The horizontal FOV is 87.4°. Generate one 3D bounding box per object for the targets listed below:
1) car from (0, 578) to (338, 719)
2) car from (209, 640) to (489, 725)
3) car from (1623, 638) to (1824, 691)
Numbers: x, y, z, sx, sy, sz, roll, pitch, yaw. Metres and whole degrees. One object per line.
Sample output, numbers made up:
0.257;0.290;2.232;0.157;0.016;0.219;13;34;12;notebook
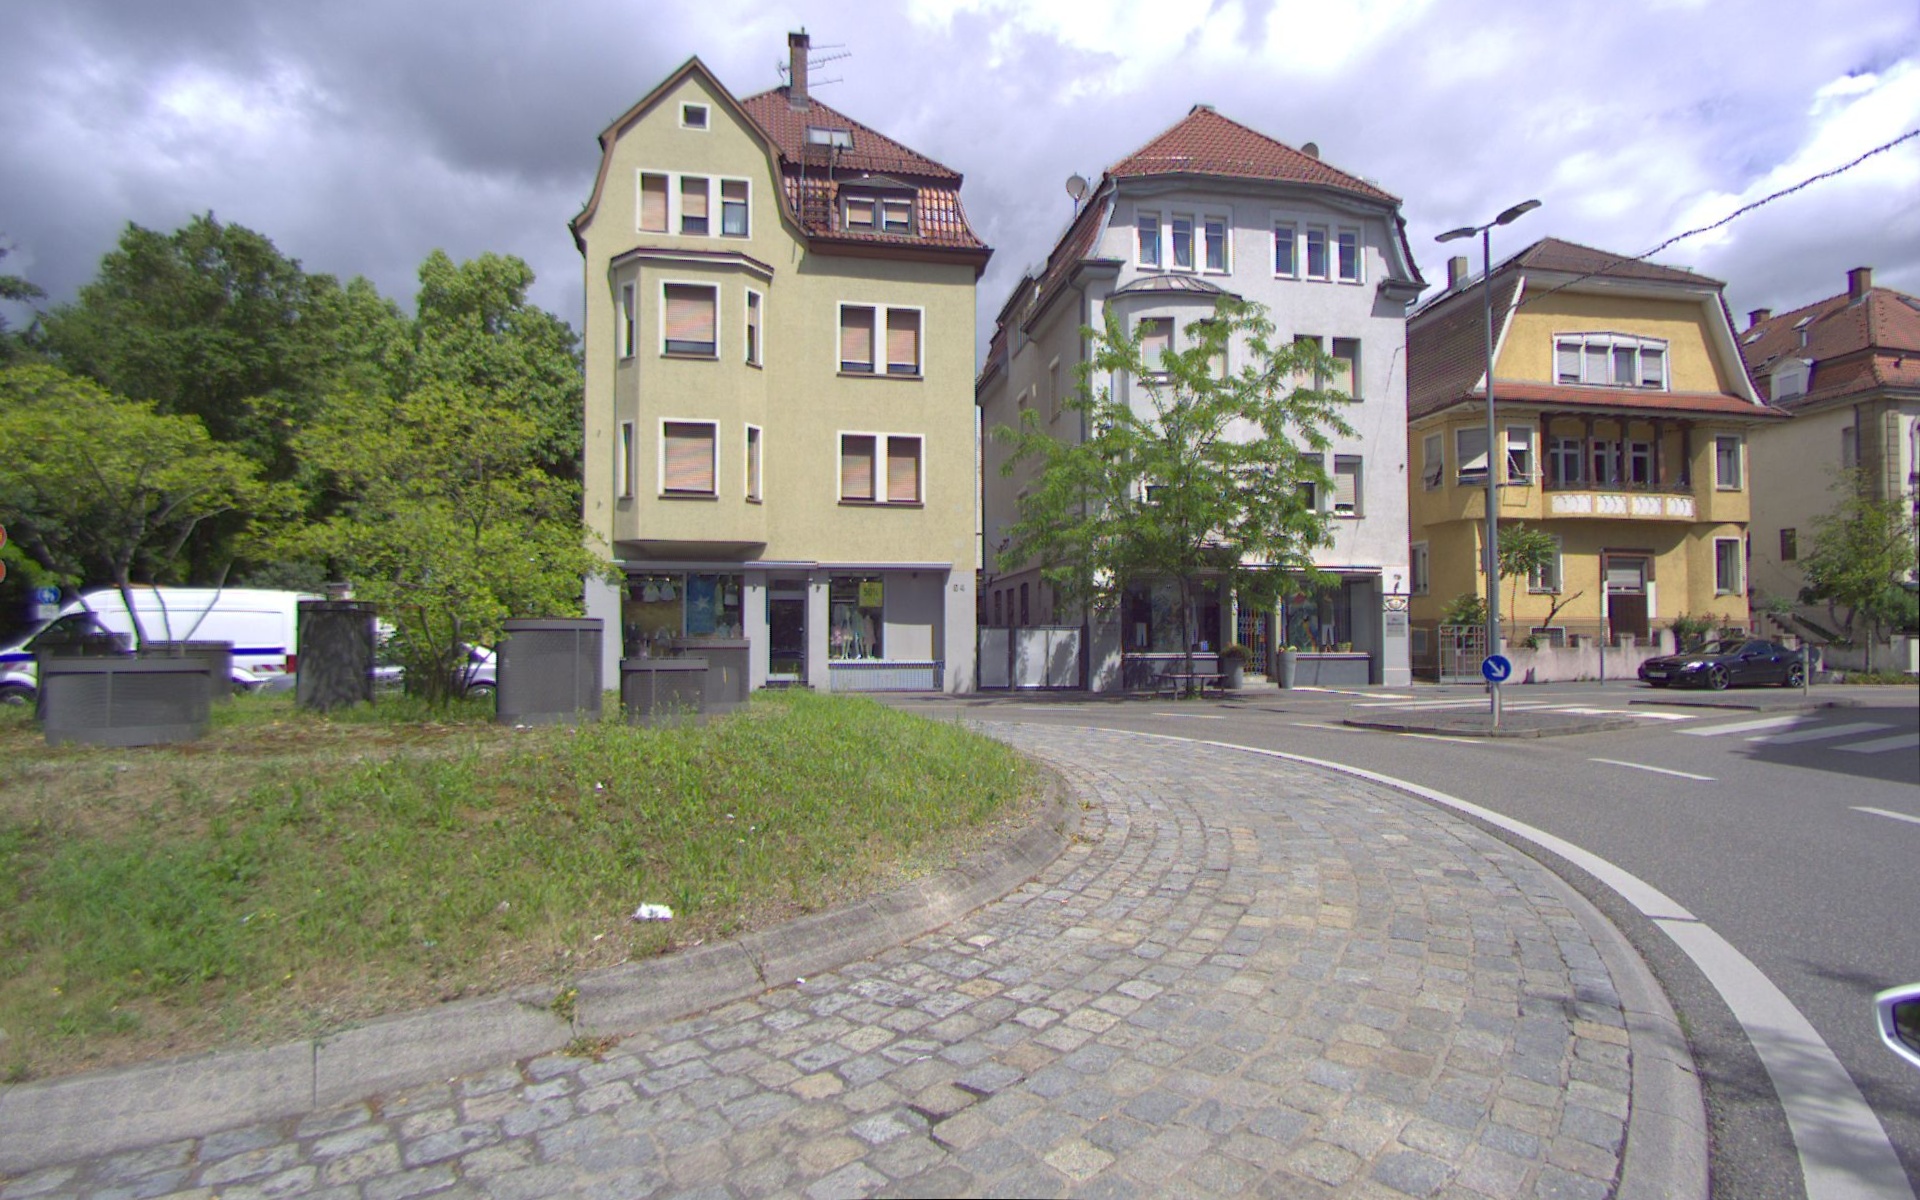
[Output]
-16.244;0.931;20.363;5.831;2.641;1.968;0;-1;-15;car
-10.718;1.414;17.937;3.936;1.372;1.709;0;-2;-18;car
20.135;1.673;26.558;4.331;1.261;1.713;0;-2;-9;car
